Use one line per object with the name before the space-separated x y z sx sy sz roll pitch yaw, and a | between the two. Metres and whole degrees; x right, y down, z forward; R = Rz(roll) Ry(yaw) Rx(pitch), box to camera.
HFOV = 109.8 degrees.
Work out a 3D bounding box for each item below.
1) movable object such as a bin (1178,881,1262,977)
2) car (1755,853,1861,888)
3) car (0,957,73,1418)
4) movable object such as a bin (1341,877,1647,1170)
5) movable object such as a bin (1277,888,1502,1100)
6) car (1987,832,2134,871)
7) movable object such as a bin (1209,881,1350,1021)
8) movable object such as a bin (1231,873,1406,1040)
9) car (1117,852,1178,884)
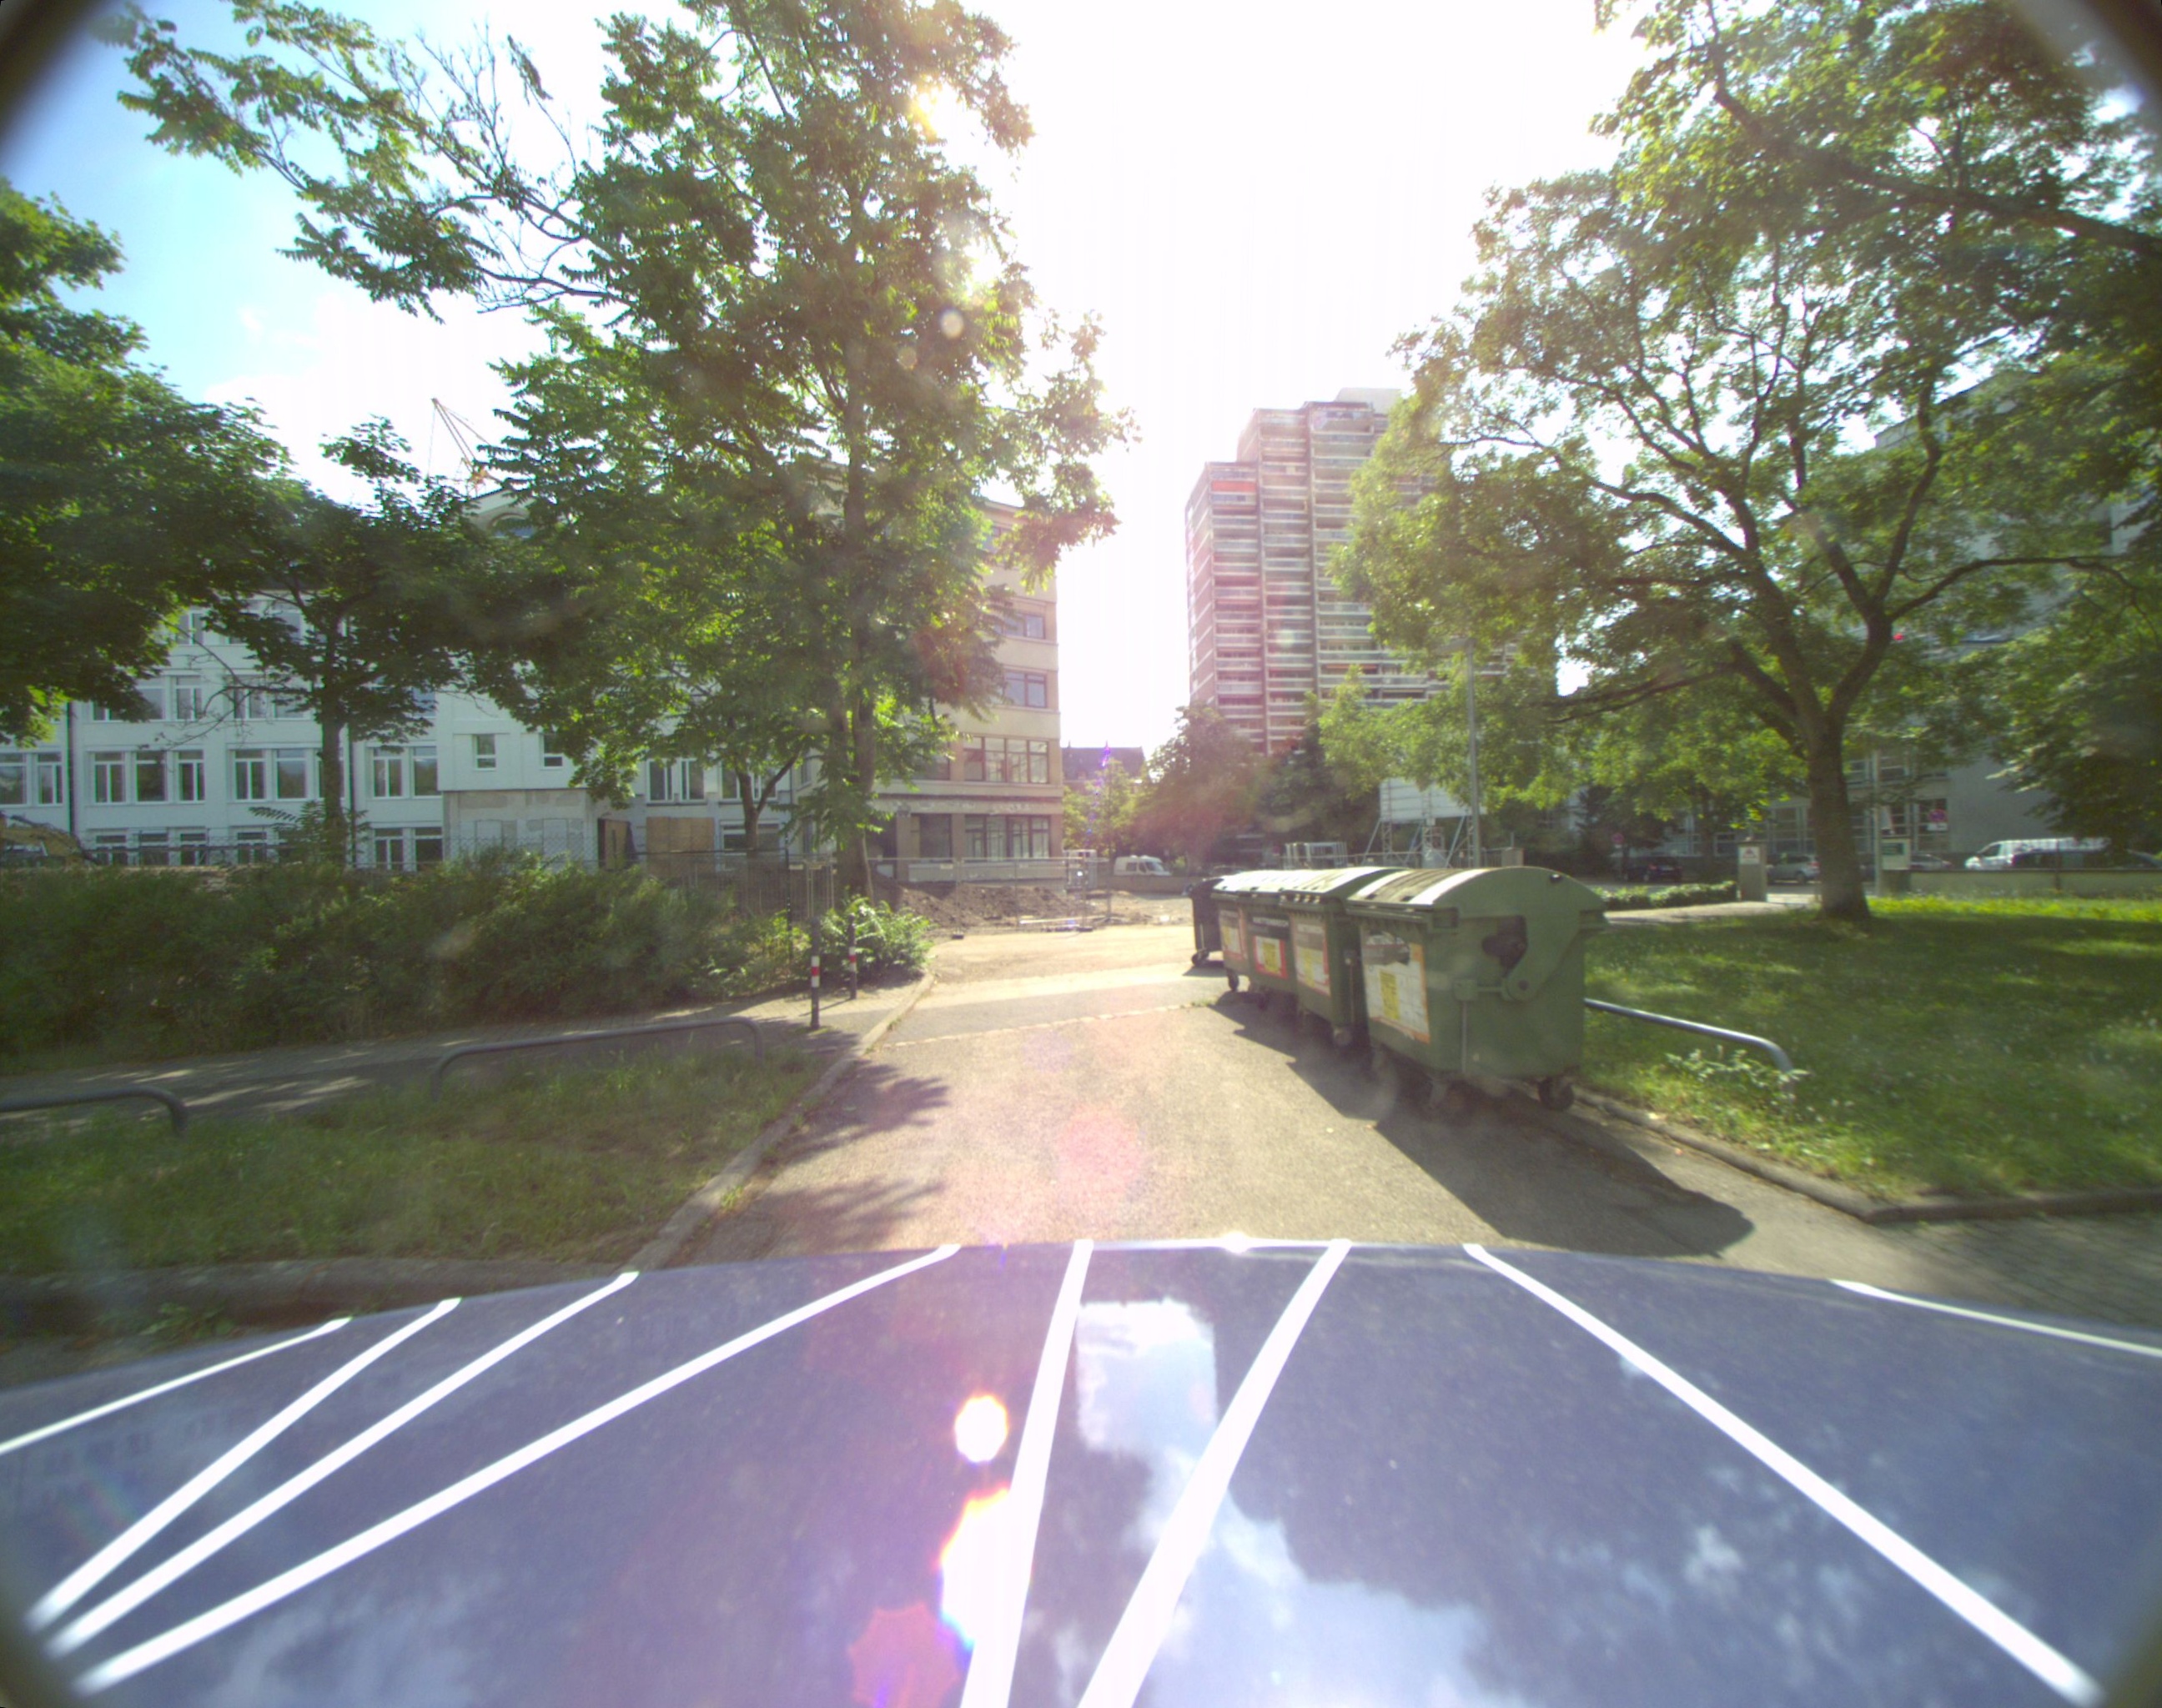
movable object such as a bin | 2.352 1.211 12.726 1.247 1.473 1.298 -1 0 16
car | 36.217 0.752 38.011 1.780 1.456 4.238 3 2 12
car | -5.217 1.090 1.381 3.916 1.412 1.757 -1 2 -8
movable object such as a bin | 2.436 0.925 4.715 1.102 1.443 1.342 -3 1 -2
movable object such as a bin | 2.412 1.044 6.175 1.227 1.443 1.283 -3 -1 -1
car | 39.182 -0.137 30.553 1.746 1.390 4.005 -3 1 20
movable object such as a bin | 2.267 1.071 8.912 1.103 1.442 1.343 -3 -2 -7
movable object such as a bin | 2.321 0.942 7.592 1.103 1.443 1.232 -3 0 -15
car | 5.006 1.017 58.056 2.003 2.003 5.293 -2 4 -30
